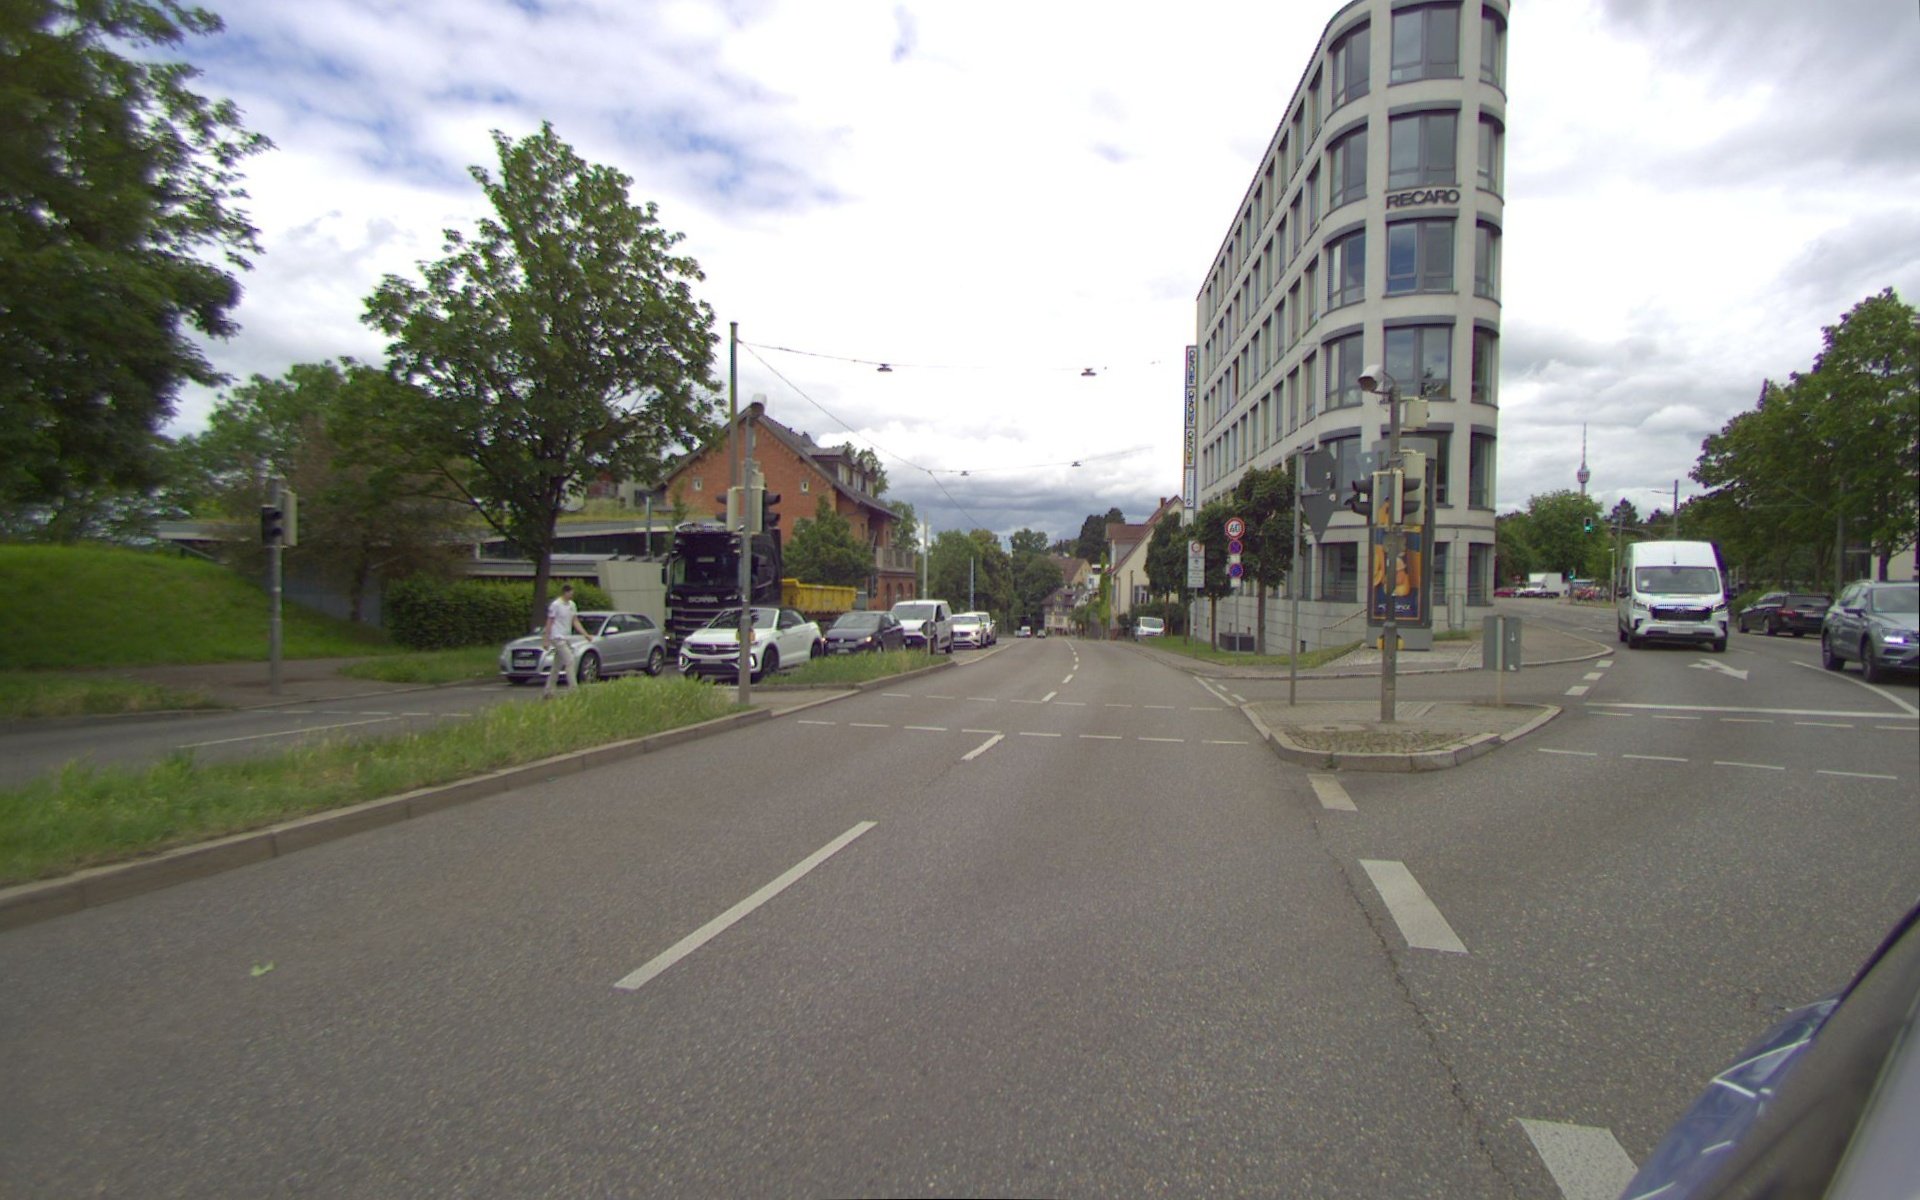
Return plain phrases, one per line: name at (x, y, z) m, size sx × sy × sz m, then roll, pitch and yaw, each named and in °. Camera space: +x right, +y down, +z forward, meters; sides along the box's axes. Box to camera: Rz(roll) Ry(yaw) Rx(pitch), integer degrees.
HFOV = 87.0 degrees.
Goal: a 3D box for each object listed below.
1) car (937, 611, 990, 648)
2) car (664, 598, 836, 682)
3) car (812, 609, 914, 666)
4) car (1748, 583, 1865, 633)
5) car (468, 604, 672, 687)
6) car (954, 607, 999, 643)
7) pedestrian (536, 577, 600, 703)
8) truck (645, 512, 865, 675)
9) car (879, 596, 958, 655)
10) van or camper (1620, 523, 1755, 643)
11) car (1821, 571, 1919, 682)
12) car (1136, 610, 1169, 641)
car at (0.192, 1.182, 41.314) m, size 1.725 × 1.394 × 4.279 m, roll -1°, pitch 0°, yaw 6°
car at (-4.210, 0.770, 21.100) m, size 1.828 × 1.549 × 4.470 m, roll -1°, pitch -1°, yaw 13°
car at (-2.568, 0.977, 27.748) m, size 1.629 × 1.391 × 3.962 m, roll -1°, pitch 0°, yaw 13°
car at (27.937, 0.206, 33.576) m, size 1.833 × 1.454 × 4.663 m, roll 2°, pitch 2°, yaw 26°
car at (-7.857, 0.859, 20.866) m, size 1.959 × 1.460 × 4.142 m, roll -1°, pitch 0°, yaw 13°
car at (0.837, 1.168, 48.402) m, size 1.707 × 1.588 × 4.318 m, roll -2°, pitch -1°, yaw 6°
pedestrian at (-6.201, 0.613, 16.018) m, size 0.745 × 1.942 × 0.585 m, roll 0°, pitch 0°, yaw 13°
truck at (-5.529, -0.189, 29.588) m, size 2.785 × 3.975 × 9.425 m, roll -1°, pitch 0°, yaw 12°
car at (-1.309, 0.791, 33.550) m, size 1.727 × 1.820 × 4.274 m, roll -1°, pitch 0°, yaw 10°
van or camper at (18.650, -0.415, 26.233) m, size 2.093 × 2.724 × 6.235 m, roll -1°, pitch 0°, yaw 29°
car at (15.929, 0.360, 16.694) m, size 1.819 × 1.666 × 4.281 m, roll -1°, pitch 0°, yaw 30°
car at (13.760, 1.791, 72.486) m, size 2.141 × 2.039 × 3.991 m, roll 0°, pitch 1°, yaw 8°
